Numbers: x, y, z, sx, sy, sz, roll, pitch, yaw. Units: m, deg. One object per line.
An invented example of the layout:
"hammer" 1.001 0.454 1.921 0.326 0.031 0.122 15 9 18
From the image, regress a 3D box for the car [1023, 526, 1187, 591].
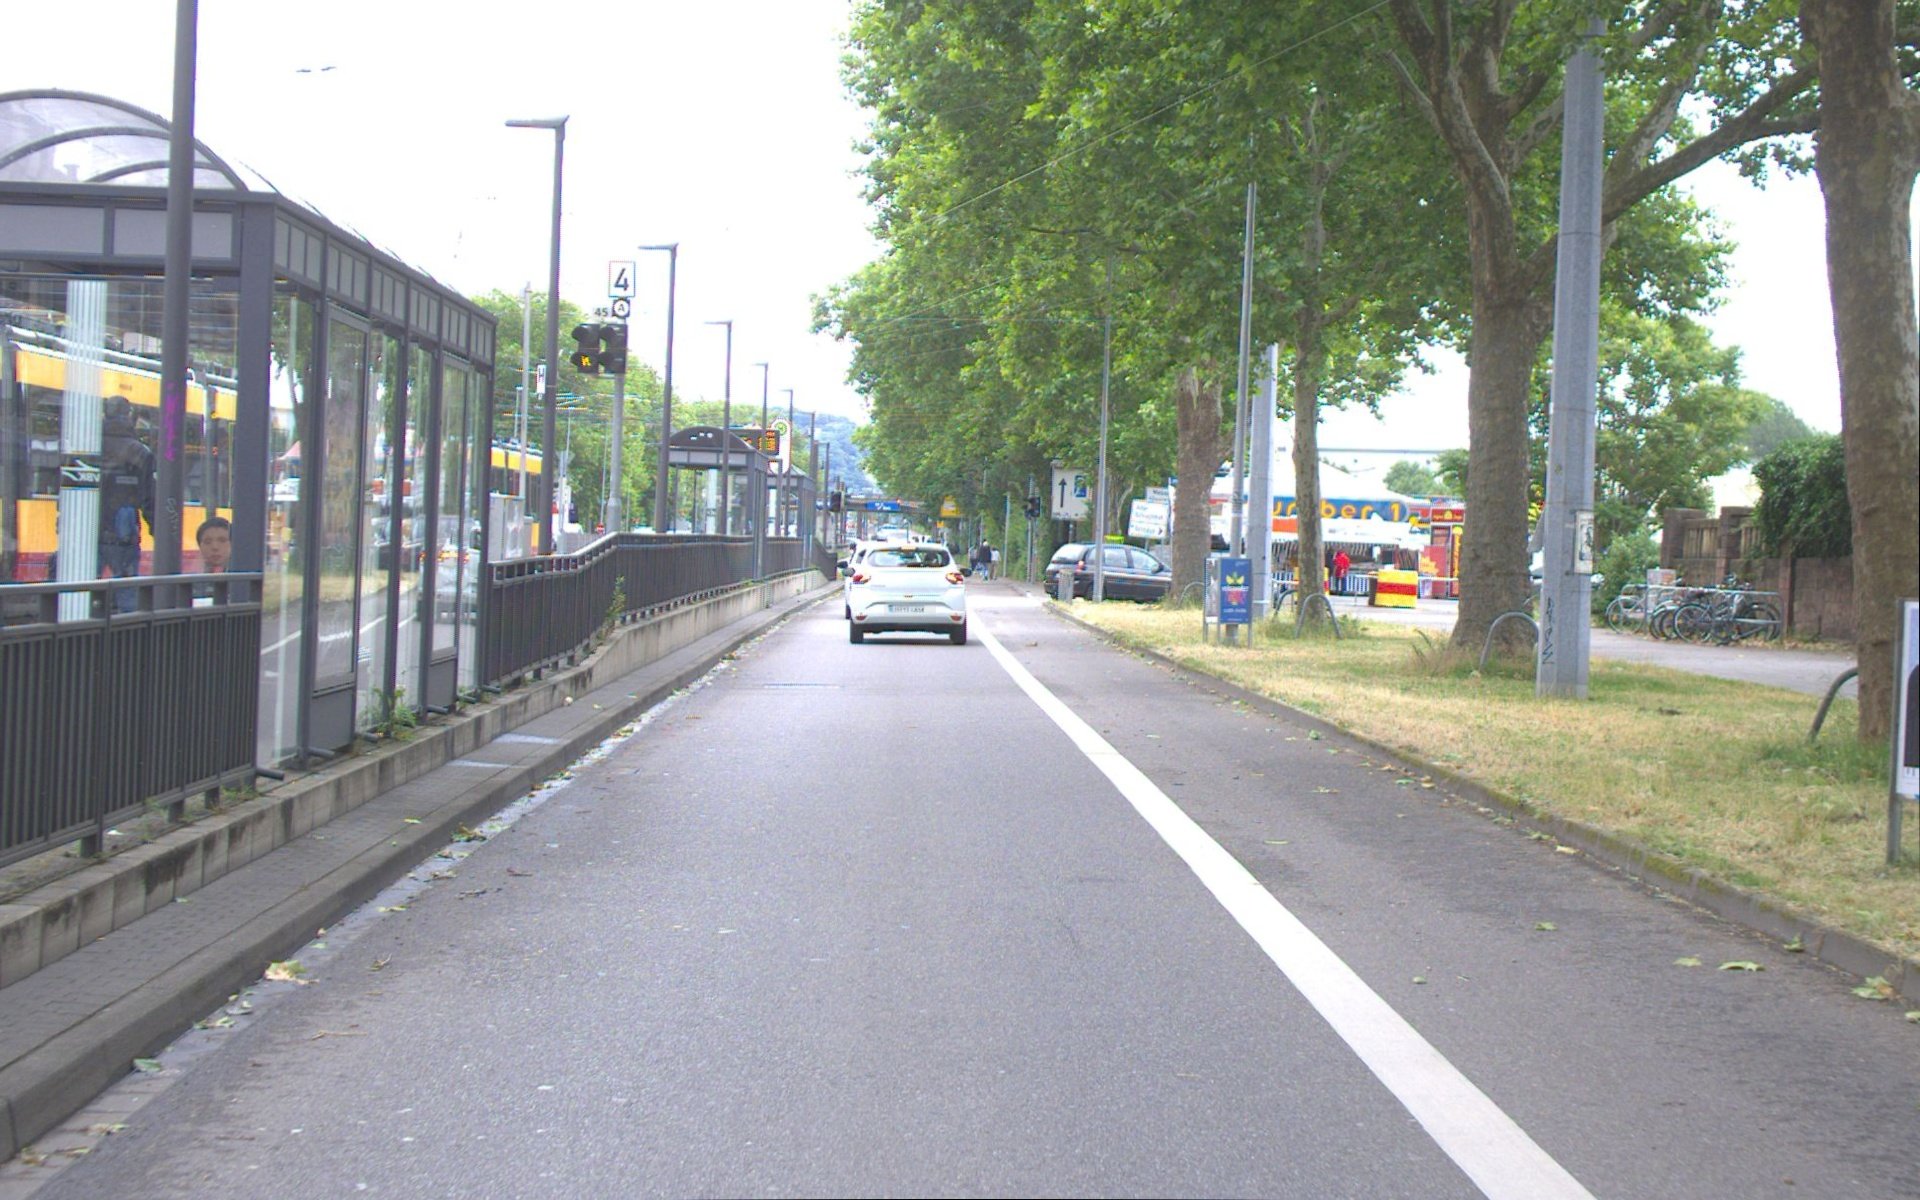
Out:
"car" 3.597 -1.036 85.497 3.987 1.481 1.786 2 1 2

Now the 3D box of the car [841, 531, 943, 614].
"car" -1.306 -0.556 67.524 1.841 1.546 4.000 2 1 0

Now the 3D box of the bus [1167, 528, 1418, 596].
"bus" 12.675 -1.446 131.313 9.276 2.220 2.000 2 0 -3

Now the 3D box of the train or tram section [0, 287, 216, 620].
"train or tram section" -12.625 -1.788 45.380 3.163 3.848 11.312 2 0 -1

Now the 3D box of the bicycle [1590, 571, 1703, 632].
"bicycle" 12.415 0.029 62.195 1.921 1.087 0.550 0 0 -2

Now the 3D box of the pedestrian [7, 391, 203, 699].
"pedestrian" -5.769 -0.368 23.237 1.058 2.007 0.840 2 0 -1

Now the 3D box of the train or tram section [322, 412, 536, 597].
"train or tram section" -13.195 -2.256 86.923 3.180 4.164 14.735 2 0 -1

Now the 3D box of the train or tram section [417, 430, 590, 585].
"train or tram section" -13.310 -2.593 101.714 3.180 4.164 14.735 2 0 -1

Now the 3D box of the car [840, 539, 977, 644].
"car" -0.817 -0.140 52.002 1.885 1.448 4.000 2 0 -3

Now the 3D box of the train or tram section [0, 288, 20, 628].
"train or tram section" -12.470 -1.619 34.030 3.237 3.848 11.312 2 0 -1

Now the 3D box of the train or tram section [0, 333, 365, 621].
"train or tram section" -12.794 -1.882 57.938 3.180 4.164 13.621 2 0 -1

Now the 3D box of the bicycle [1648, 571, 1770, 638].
"bicycle" 12.551 0.069 57.616 1.900 1.093 0.550 0 0 -2

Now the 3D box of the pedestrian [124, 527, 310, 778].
"pedestrian" -3.975 0.274 18.433 0.835 1.299 0.613 2 0 -2

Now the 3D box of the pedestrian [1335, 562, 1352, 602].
"pedestrian" 13.975 -0.659 125.193 0.492 1.458 0.524 2 0 -3

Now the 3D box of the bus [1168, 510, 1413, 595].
"bus" 12.897 -1.849 134.470 9.276 2.950 2.000 2 0 -3

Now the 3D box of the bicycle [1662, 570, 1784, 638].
"bicycle" 12.655 0.069 57.040 1.889 1.101 0.550 0 0 -2

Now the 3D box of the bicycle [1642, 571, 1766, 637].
"bicycle" 12.601 0.062 58.255 1.974 1.091 0.550 0 0 -2
